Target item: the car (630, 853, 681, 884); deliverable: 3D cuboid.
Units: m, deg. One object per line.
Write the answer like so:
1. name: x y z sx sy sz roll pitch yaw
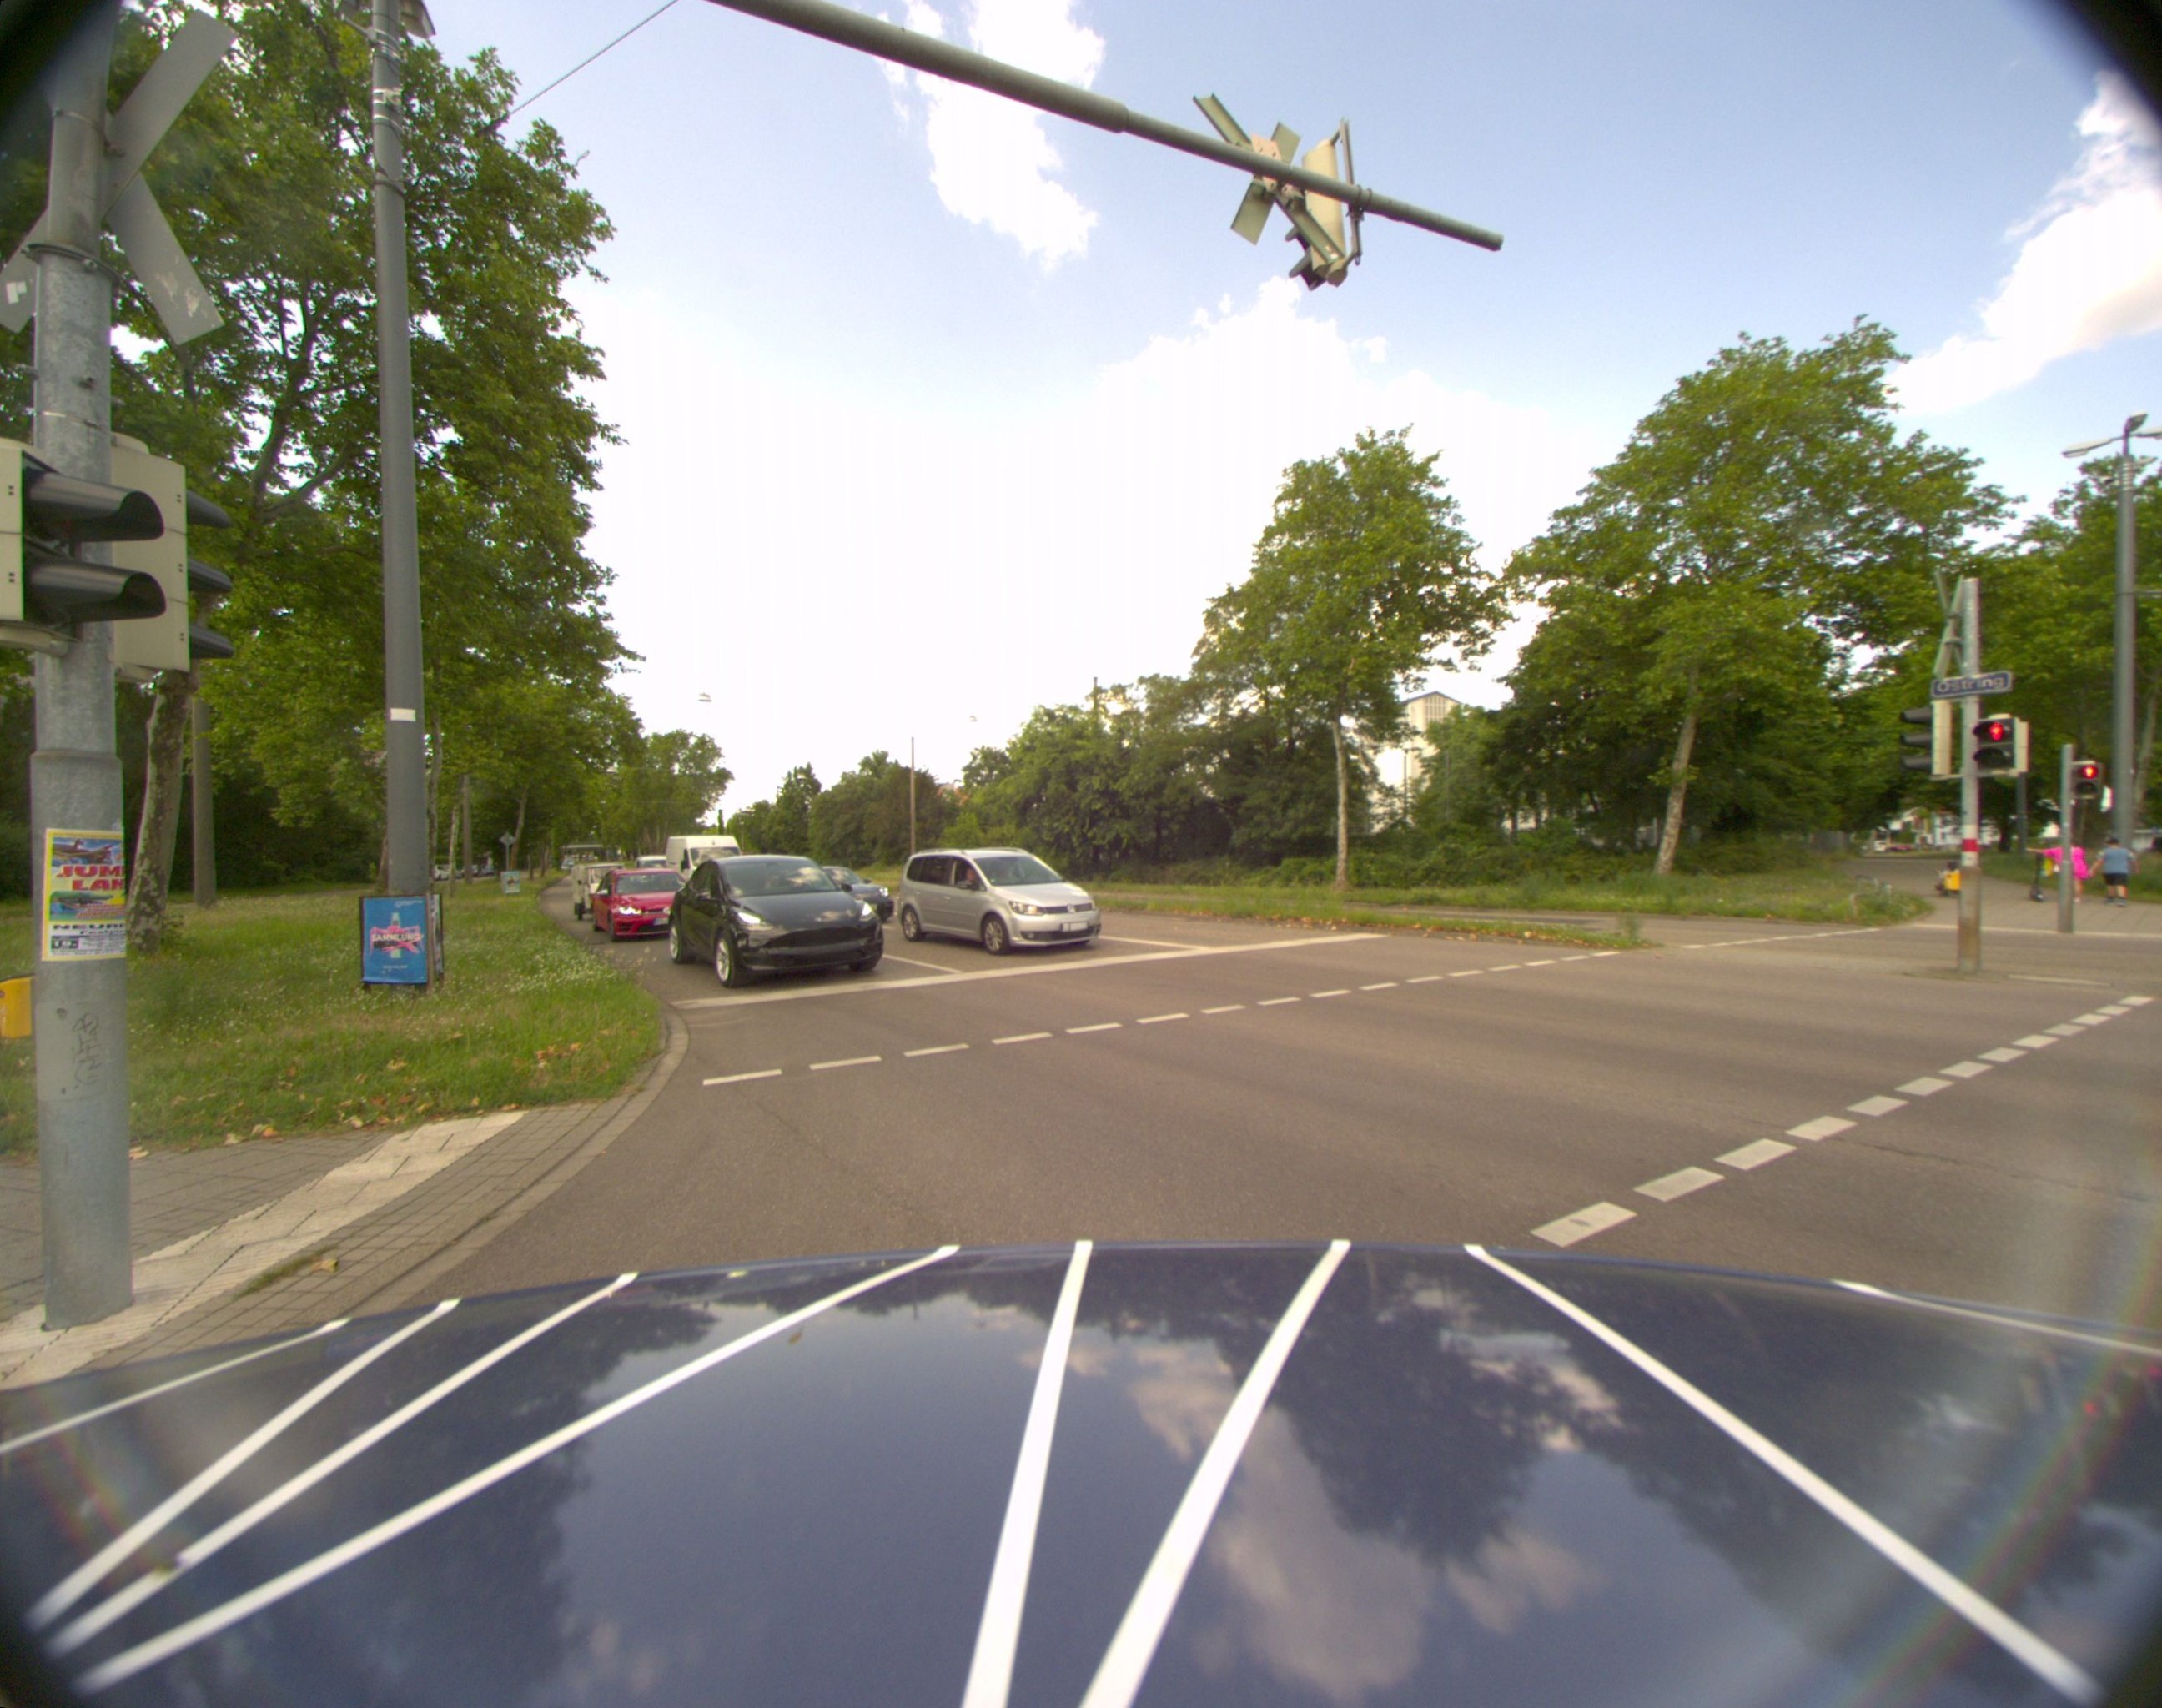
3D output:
1. car: -24.571 0.803 43.821 1.768 1.637 4.331 -1 1 -40

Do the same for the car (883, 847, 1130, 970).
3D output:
1. car: -1.441 0.762 12.919 1.934 1.643 4.489 -3 2 -40

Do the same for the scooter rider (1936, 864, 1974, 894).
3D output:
1. scooter rider: 22.041 0.621 19.171 0.861 0.724 0.610 -1 -1 -41

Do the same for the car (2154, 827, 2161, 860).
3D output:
1. car: 70.189 -0.681 47.701 1.850 2.143 4.391 0 1 34

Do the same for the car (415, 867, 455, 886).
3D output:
1. car: -59.218 2.062 69.761 1.779 1.586 3.650 -2 -1 -23

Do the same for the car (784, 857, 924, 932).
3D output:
1. car: -5.526 0.866 18.183 1.807 1.499 3.989 -4 2 -38

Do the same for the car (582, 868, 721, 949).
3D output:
1. car: -9.517 1.075 16.656 1.805 1.383 4.489 -3 2 -40

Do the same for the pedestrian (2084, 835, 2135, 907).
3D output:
1. pedestrian: 23.585 0.385 17.432 0.611 1.610 0.631 -2 1 -30

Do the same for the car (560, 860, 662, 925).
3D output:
1. car: -13.541 1.013 21.785 1.805 1.561 4.489 -3 2 -40

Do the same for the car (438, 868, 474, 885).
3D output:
1. car: -60.663 2.200 73.823 1.779 1.586 3.650 -2 -1 -23

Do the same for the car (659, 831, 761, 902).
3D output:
1. car: -14.968 0.443 30.472 2.231 2.516 5.916 -4 2 -40

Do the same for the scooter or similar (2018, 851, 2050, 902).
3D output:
1. scooter or similar: 23.144 0.542 18.448 0.777 1.224 0.321 -2 -1 -28

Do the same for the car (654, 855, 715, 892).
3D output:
1. car: -19.433 0.903 37.170 1.847 1.609 4.144 -3 2 -38

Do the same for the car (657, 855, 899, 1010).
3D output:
1. car: -4.497 0.877 10.810 1.935 1.643 4.567 -3 2 -38

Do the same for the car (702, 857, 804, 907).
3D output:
1. car: -10.554 0.823 24.261 1.768 1.367 4.331 -3 2 -40

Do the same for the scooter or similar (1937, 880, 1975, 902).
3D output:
1. scooter or similar: 22.057 0.930 19.168 0.859 0.508 0.610 -1 -1 -42

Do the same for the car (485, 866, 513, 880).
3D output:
1. car: -69.364 2.293 90.588 1.779 1.586 3.650 -2 -1 -23

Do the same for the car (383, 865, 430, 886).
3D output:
1. car: -54.749 1.736 61.786 1.779 1.586 3.650 -2 -1 -23

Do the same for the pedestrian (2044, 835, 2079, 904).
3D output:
1. pedestrian: 23.288 0.353 18.048 0.597 1.610 0.420 -2 1 -30
